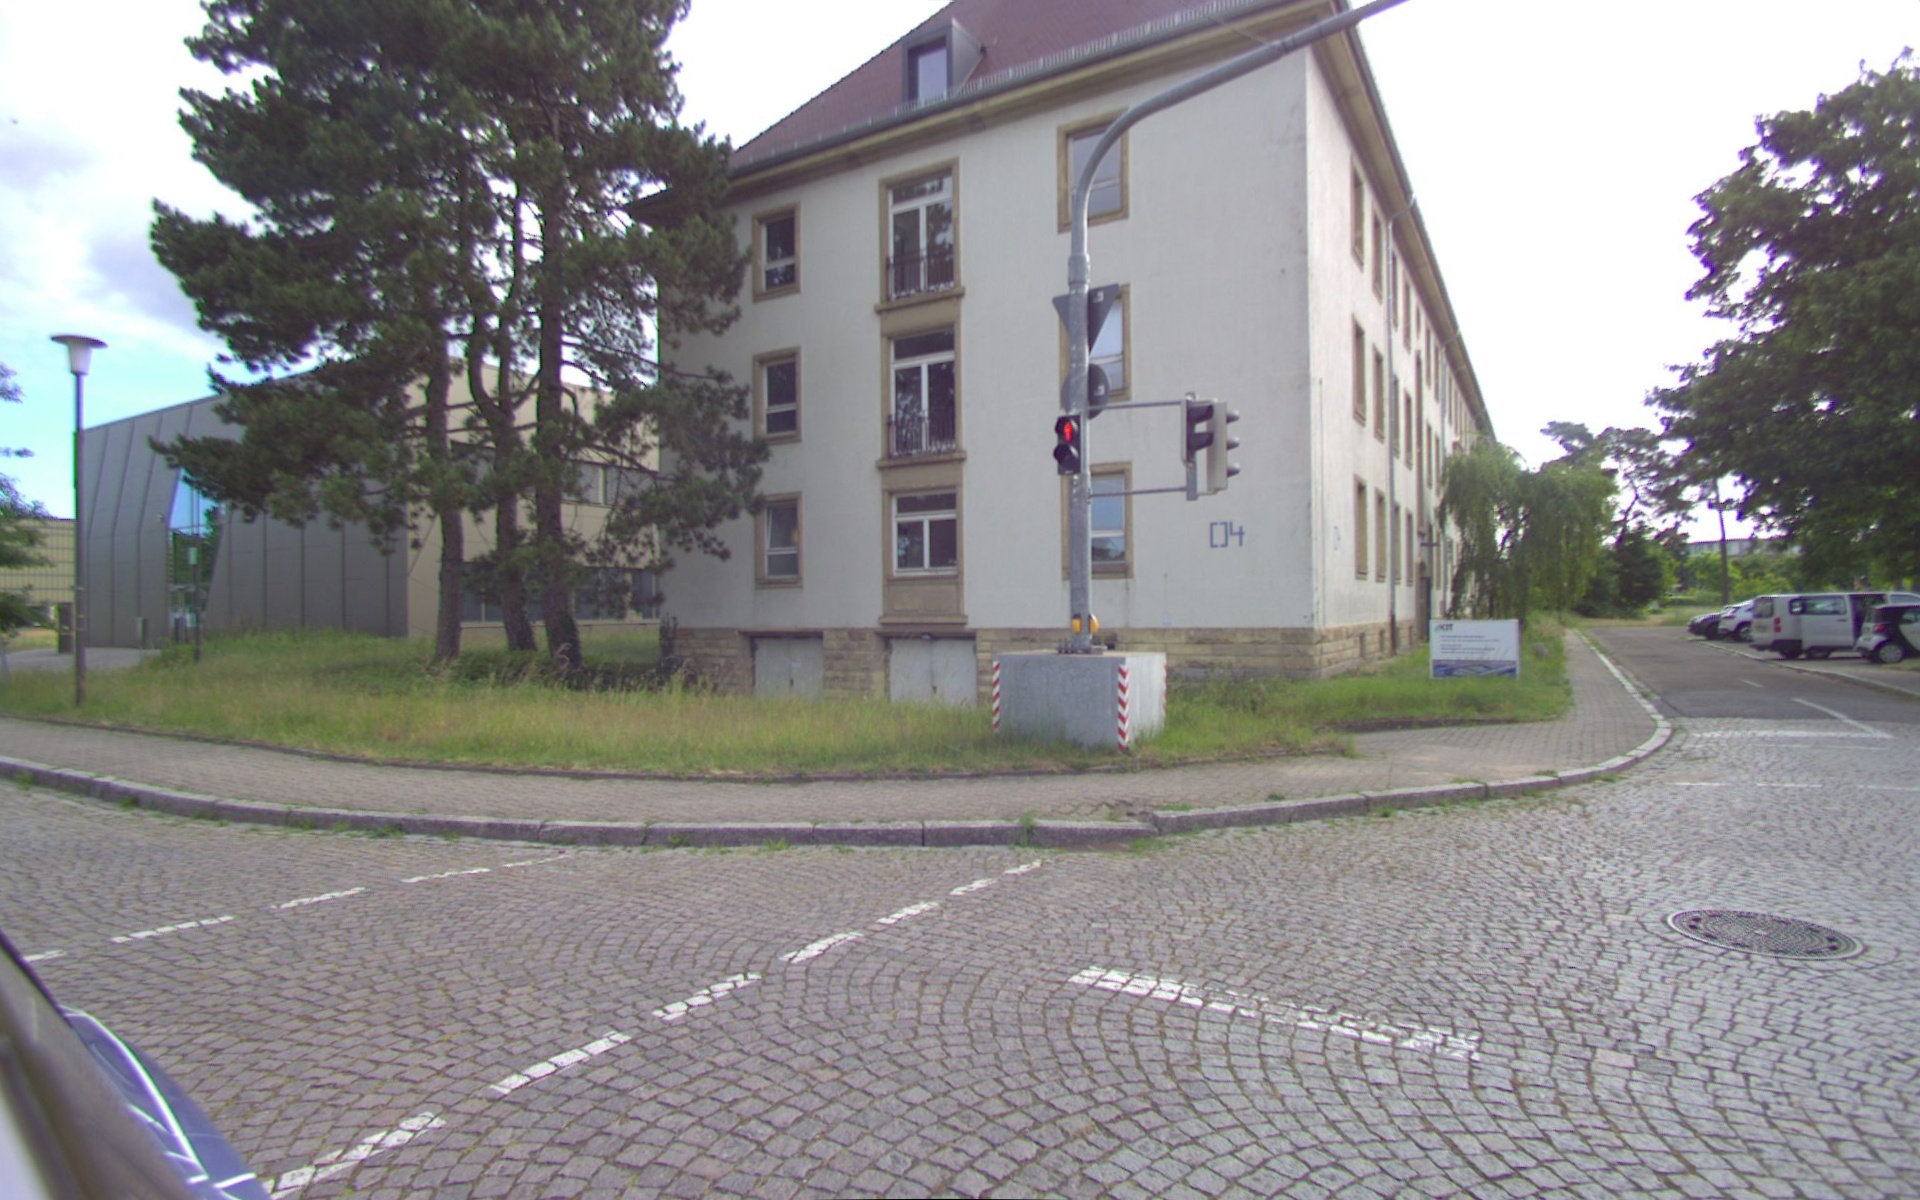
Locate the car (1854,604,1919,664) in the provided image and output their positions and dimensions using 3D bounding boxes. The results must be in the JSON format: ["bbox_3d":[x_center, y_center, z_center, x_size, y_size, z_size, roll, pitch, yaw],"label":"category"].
[{"bbox_3d":[24.550,0.809,25.420,2.762,1.426,1.576,-4,-3,30],"label":"car"}]

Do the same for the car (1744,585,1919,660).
[{"bbox_3d":[25.721,0.608,28.579,5.128,1.931,2.024,-3,-2,18],"label":"car"}]

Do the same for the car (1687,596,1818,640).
[{"bbox_3d":[34.033,0.781,43.588,4.066,1.780,1.817,-1,1,23],"label":"car"}]

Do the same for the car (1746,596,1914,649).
[{"bbox_3d":[30.525,0.798,35.654,4.066,1.733,1.846,-1,1,23],"label":"car"}]

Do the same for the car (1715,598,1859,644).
[{"bbox_3d":[32.983,0.850,40.523,4.066,1.733,1.846,-1,1,23],"label":"car"}]
